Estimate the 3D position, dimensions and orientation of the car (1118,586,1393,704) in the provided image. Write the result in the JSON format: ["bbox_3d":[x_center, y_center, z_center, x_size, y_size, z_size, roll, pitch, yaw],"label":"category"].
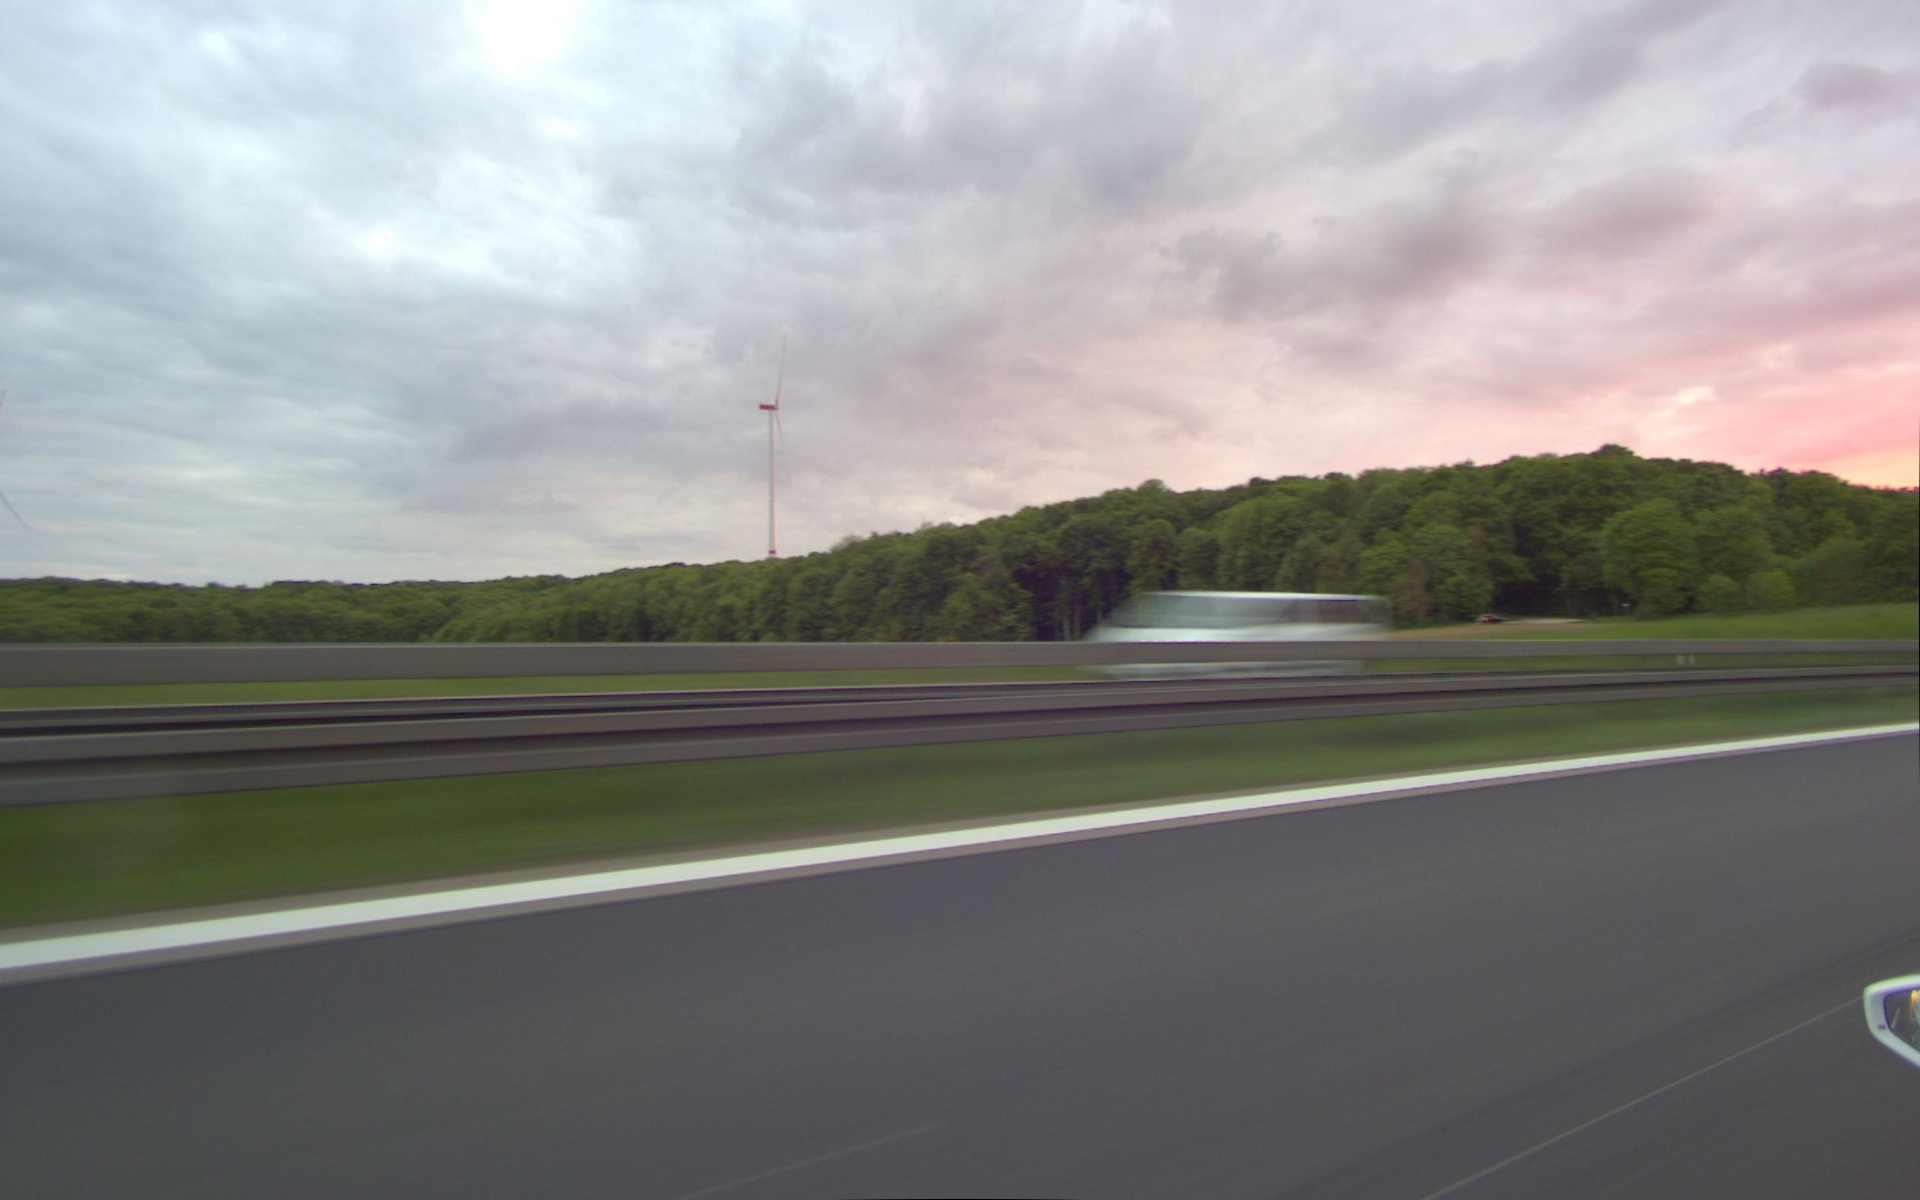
[{"bbox_3d":[5.976,0.939,20.218,5.195,2.038,2.273,1,-7,-30],"label":"car"}]
